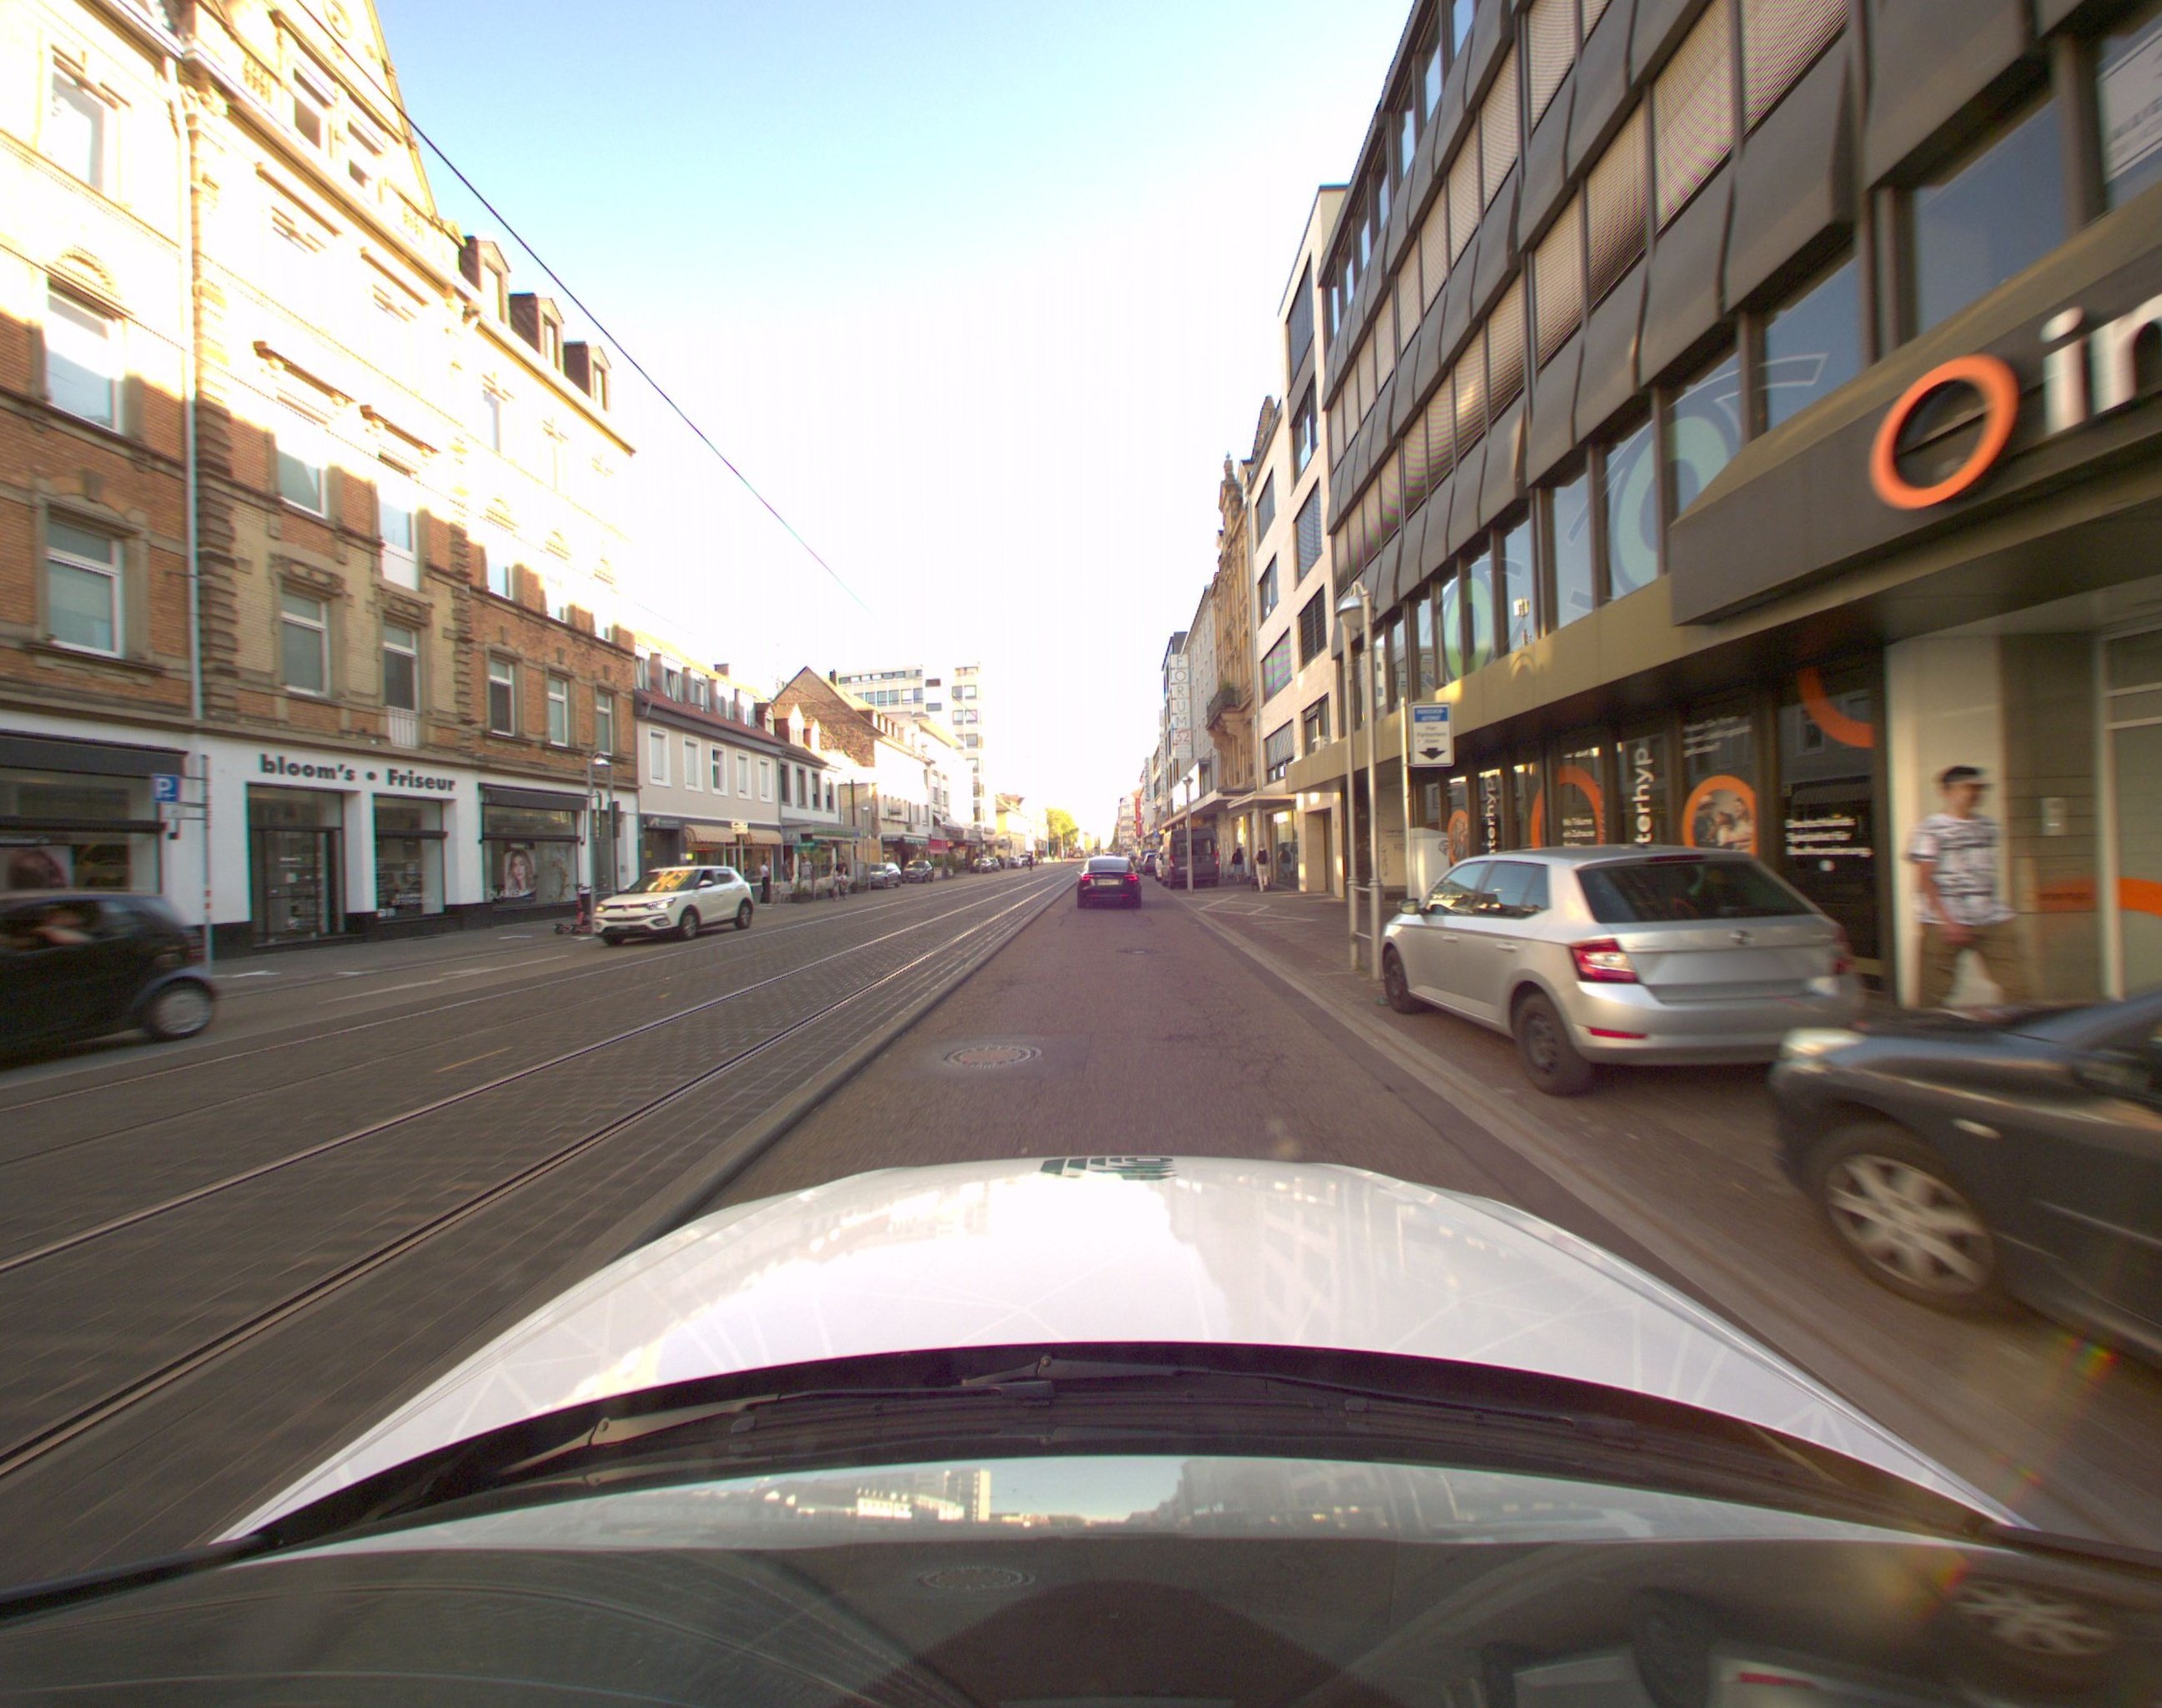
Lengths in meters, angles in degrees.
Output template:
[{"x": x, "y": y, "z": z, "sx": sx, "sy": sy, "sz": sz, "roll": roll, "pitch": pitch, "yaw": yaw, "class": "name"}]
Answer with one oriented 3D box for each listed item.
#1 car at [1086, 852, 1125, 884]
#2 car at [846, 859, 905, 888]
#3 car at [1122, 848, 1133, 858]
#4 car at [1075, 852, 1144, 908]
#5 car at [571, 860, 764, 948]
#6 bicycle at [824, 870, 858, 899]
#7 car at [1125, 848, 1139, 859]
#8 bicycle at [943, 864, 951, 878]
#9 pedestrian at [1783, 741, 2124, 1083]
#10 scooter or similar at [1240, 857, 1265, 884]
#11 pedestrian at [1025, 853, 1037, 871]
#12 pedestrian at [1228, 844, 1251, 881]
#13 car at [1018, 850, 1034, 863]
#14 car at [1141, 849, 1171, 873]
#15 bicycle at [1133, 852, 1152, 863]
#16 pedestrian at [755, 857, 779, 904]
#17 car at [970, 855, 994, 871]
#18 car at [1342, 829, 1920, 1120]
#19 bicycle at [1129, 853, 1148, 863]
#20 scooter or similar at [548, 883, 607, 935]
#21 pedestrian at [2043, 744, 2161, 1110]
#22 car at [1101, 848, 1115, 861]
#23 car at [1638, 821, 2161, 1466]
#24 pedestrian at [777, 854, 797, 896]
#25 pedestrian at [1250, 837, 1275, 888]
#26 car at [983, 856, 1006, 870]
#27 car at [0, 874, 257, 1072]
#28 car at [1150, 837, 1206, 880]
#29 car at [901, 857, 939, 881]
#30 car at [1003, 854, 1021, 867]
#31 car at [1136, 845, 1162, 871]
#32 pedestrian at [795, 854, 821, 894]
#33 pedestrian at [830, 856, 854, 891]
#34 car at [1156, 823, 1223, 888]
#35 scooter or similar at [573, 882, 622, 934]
[{"x": 1.187, "y": 0.654, "z": 40.003, "sx": 1.755, "sy": 1.418, "sz": 4.355, "roll": -2, "pitch": -1, "yaw": 1, "class": "car"}, {"x": -11.586, "y": 1.094, "z": 46.266, "sx": 1.986, "sy": 1.532, "sz": 4.758, "roll": -1, "pitch": -1, "yaw": 1, "class": "car"}, {"x": 8.669, "y": -0.177, "z": 151.405, "sx": 1.986, "sy": 1.753, "sz": 4.002, "roll": -2, "pitch": -1, "yaw": 2, "class": "car"}, {"x": 0.881, "y": 0.713, "z": 24.443, "sx": 1.862, "sy": 1.427, "sz": 4.367, "roll": -2, "pitch": 0, "yaw": 2, "class": "car"}, {"x": -9.004, "y": 1.004, "z": 18.229, "sx": 1.882, "sy": 1.594, "sz": 4.265, "roll": -4, "pitch": 0, "yaw": 3, "class": "car"}, {"x": -9.976, "y": 1.260, "z": 33.902, "sx": 0.575, "sy": 1.115, "sz": 1.956, "roll": -2, "pitch": 0, "yaw": 7, "class": "bicycle"}, {"x": 7.645, "y": -0.011, "z": 122.910, "sx": 1.986, "sy": 1.543, "sz": 4.002, "roll": -2, "pitch": -1, "yaw": 2, "class": "car"}, {"x": -10.401, "y": 1.309, "z": 63.134, "sx": 0.369, "sy": 1.002, "sz": 1.596, "roll": -2, "pitch": 0, "yaw": -16, "class": "bicycle"}, {"x": 5.274, "y": 0.321, "z": 5.023, "sx": 0.919, "sy": 1.842, "sz": 1.000, "roll": -4, "pitch": 0, "yaw": 3, "class": "pedestrian"}, {"x": 6.375, "y": 0.616, "z": 30.324, "sx": 0.591, "sy": 0.936, "sz": 1.298, "roll": -4, "pitch": 0, "yaw": 0, "class": "scooter or similar"}, {"x": -5.085, "y": 0.827, "z": 82.931, "sx": 0.764, "sy": 1.849, "sz": 0.833, "roll": -2, "pitch": 0, "yaw": 32, "class": "pedestrian"}, {"x": 6.831, "y": 0.368, "z": 35.186, "sx": 0.766, "sy": 1.543, "sz": 0.804, "roll": -4, "pitch": 0, "yaw": 2, "class": "pedestrian"}, {"x": -8.536, "y": 0.414, "z": 127.059, "sx": 2.001, "sy": 1.961, "sz": 4.727, "roll": -2, "pitch": 0, "yaw": 2, "class": "car"}, {"x": 5.113, "y": 0.431, "z": 55.888, "sx": 1.744, "sy": 1.499, "sz": 3.756, "roll": -3, "pitch": 0, "yaw": 2, "class": "car"}, {"x": 7.047, "y": 0.410, "z": 93.194, "sx": 2.153, "sy": 1.097, "sz": 0.686, "roll": -2, "pitch": 0, "yaw": -1, "class": "bicycle"}, {"x": -12.134, "y": 1.026, "z": 31.470, "sx": 0.618, "sy": 1.775, "sz": 0.710, "roll": -2, "pitch": 0, "yaw": -37, "class": "pedestrian"}, {"x": -10.222, "y": 0.918, "z": 84.434, "sx": 1.762, "sy": 1.508, "sz": 3.867, "roll": -2, "pitch": 0, "yaw": 3, "class": "car"}, {"x": 3.583, "y": 0.630, "z": 6.447, "sx": 1.738, "sy": 1.462, "sz": 4.298, "roll": -3, "pitch": 0, "yaw": 2, "class": "car"}, {"x": 6.623, "y": 0.440, "z": 94.092, "sx": 2.153, "sy": 1.097, "sz": 0.686, "roll": -2, "pitch": 0, "yaw": -1, "class": "bicycle"}, {"x": -12.596, "y": 1.355, "z": 20.427, "sx": 0.577, "sy": 1.202, "sz": 1.476, "roll": -1, "pitch": 0, "yaw": -1, "class": "scooter or similar"}, {"x": 5.539, "y": 0.337, "z": 3.822, "sx": 0.776, "sy": 1.752, "sz": 1.033, "roll": -2, "pitch": 0, "yaw": 3, "class": "pedestrian"}, {"x": 4.201, "y": 0.073, "z": 126.477, "sx": 2.077, "sy": 1.870, "sz": 3.756, "roll": -2, "pitch": 0, "yaw": 2, "class": "car"}, {"x": 3.398, "y": 0.657, "z": 1.589, "sx": 1.840, "sy": 1.462, "sz": 4.307, "roll": -3, "pitch": 0, "yaw": 4, "class": "car"}, {"x": -13.139, "y": 0.939, "z": 36.402, "sx": 0.655, "sy": 1.823, "sz": 0.642, "roll": -2, "pitch": 0, "yaw": -4, "class": "pedestrian"}, {"x": 6.425, "y": 0.291, "z": 28.827, "sx": 0.554, "sy": 1.714, "sz": 0.955, "roll": -4, "pitch": 0, "yaw": 1, "class": "pedestrian"}, {"x": -9.600, "y": 0.986, "z": 90.494, "sx": 1.761, "sy": 1.508, "sz": 3.866, "roll": -2, "pitch": 0, "yaw": 6, "class": "car"}, {"x": -9.628, "y": 1.025, "z": 7.226, "sx": 1.642, "sy": 1.566, "sz": 2.831, "roll": -2, "pitch": 0, "yaw": 2, "class": "car"}, {"x": 4.927, "y": 0.201, "z": 42.033, "sx": 2.152, "sy": 1.926, "sz": 4.615, "roll": -5, "pitch": 0, "yaw": -1, "class": "car"}, {"x": -11.075, "y": 0.986, "z": 56.299, "sx": 1.668, "sy": 1.546, "sz": 3.747, "roll": 0, "pitch": 0, "yaw": 4, "class": "car"}, {"x": -9.089, "y": 0.810, "z": 107.743, "sx": 1.710, "sy": 1.571, "sz": 3.853, "roll": -2, "pitch": 0, "yaw": 4, "class": "car"}, {"x": 5.139, "y": 0.257, "z": 62.030, "sx": 1.814, "sy": 1.870, "sz": 3.756, "roll": -2, "pitch": 0, "yaw": 2, "class": "car"}, {"x": -12.494, "y": 0.897, "z": 37.265, "sx": 0.883, "sy": 1.775, "sz": 0.688, "roll": -2, "pitch": 0, "yaw": 0, "class": "pedestrian"}, {"x": -9.983, "y": 0.806, "z": 33.970, "sx": 0.621, "sy": 1.444, "sz": 0.876, "roll": -2, "pitch": -1, "yaw": 6, "class": "pedestrian"}, {"x": 4.602, "y": 0.051, "z": 35.475, "sx": 2.163, "sy": 2.461, "sz": 5.363, "roll": -4, "pitch": 0, "yaw": 1, "class": "car"}, {"x": -12.110, "y": 1.323, "z": 20.419, "sx": 0.363, "sy": 1.202, "sz": 1.476, "roll": 0, "pitch": 0, "yaw": -1, "class": "scooter or similar"}]
